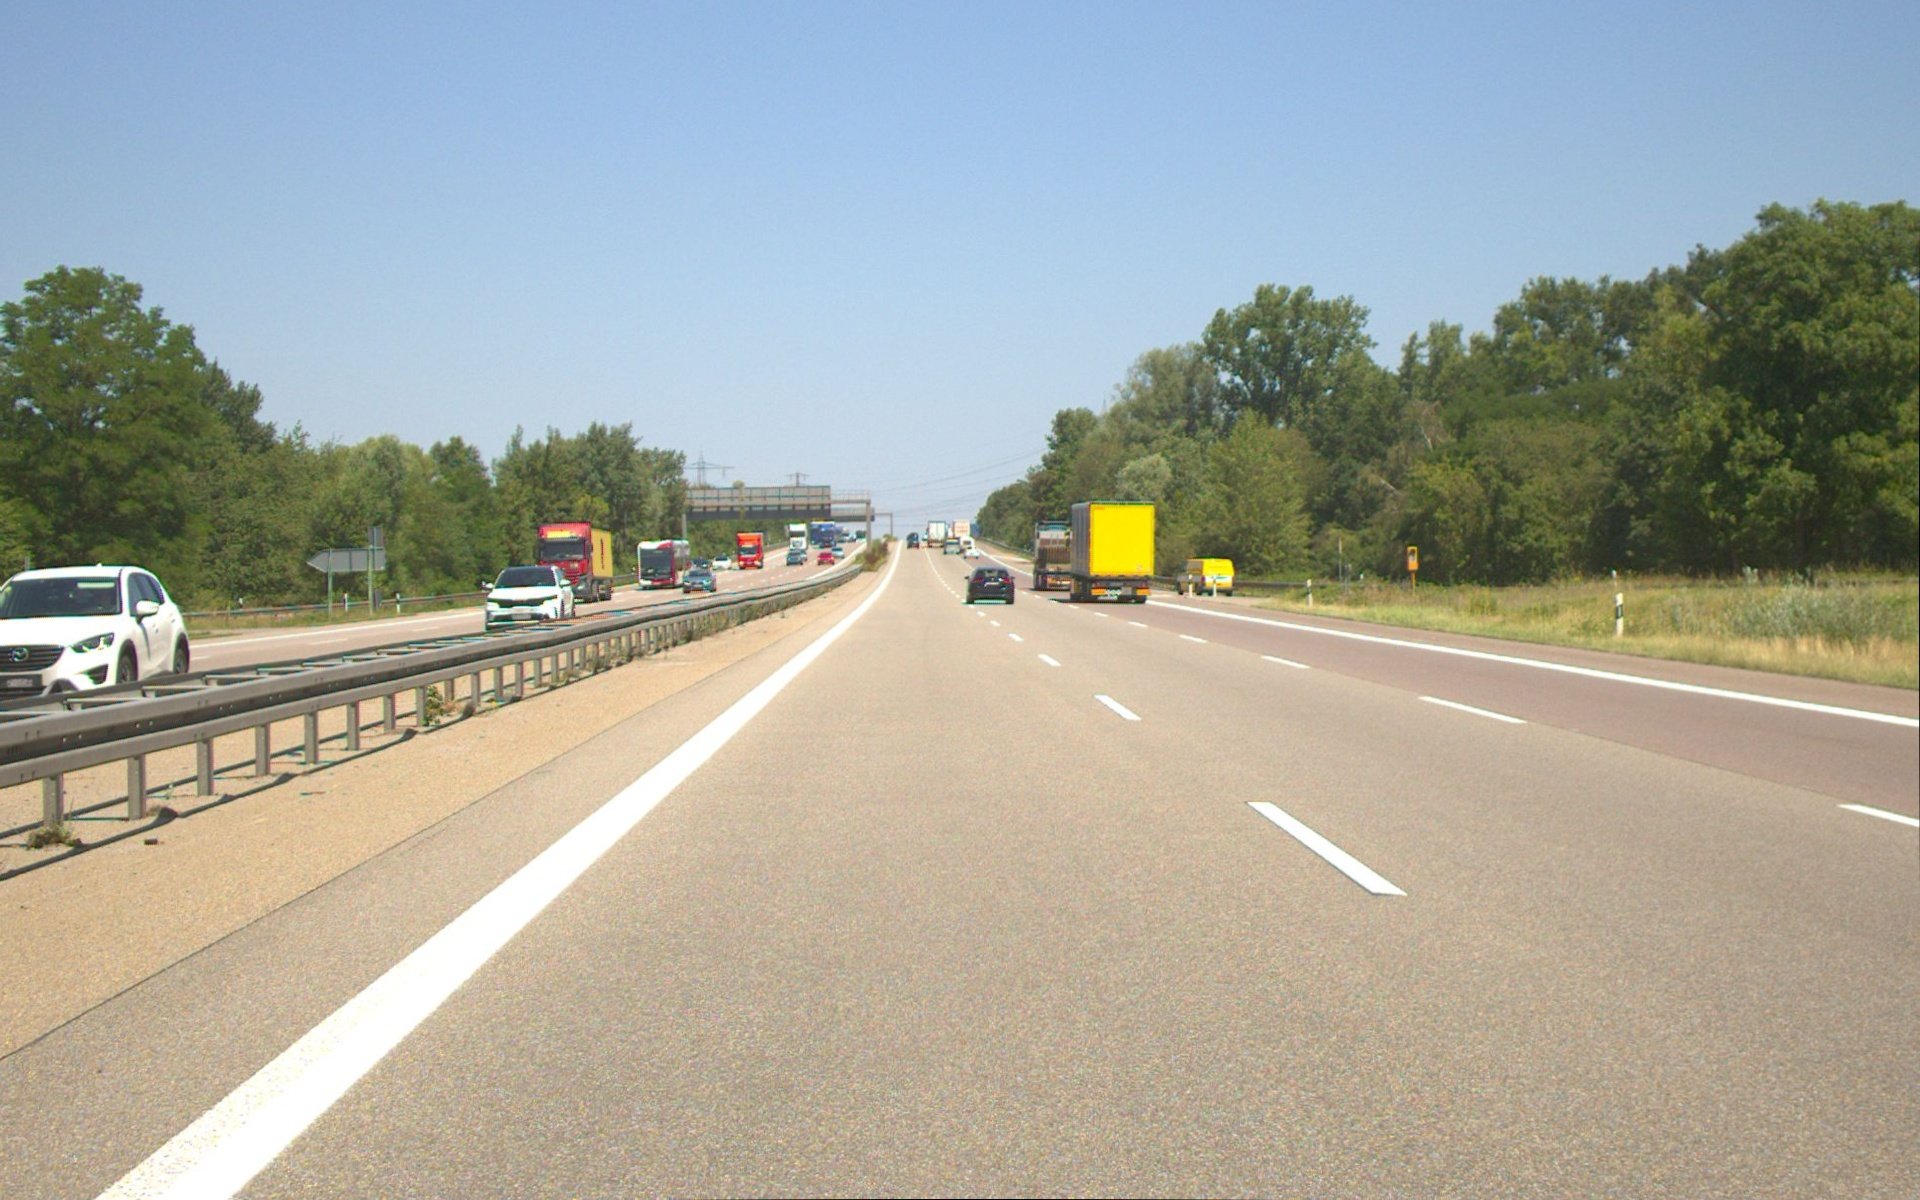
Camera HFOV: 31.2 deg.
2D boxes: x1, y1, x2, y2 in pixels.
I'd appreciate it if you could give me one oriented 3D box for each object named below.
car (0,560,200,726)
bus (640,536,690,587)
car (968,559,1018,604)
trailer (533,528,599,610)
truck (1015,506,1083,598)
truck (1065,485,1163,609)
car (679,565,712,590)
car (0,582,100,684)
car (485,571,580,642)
[{"bbox_3d":[-9.747,0.424,37.765,1.762,1.687,4.819,-1,1,-1],"label":"car"},{"bbox_3d":[-20.526,-2.688,239.762,2.763,3.435,8.932,-1,1,0],"label":"bus"},{"bbox_3d":[1.286,-0.746,134.178,1.827,1.700,4.000,1,1,-1],"label":"car"},{"bbox_3d":[-19.699,-1.557,172.075,2.603,3.978,6.029,1,1,0],"label":"trailer"},{"bbox_3d":[4.915,-2.670,192.547,3.367,4.864,15.086,1,1,0],"label":"truck"},{"bbox_3d":[6.331,-2.198,143.743,3.377,4.864,15.086,1,1,0],"label":"truck"},{"bbox_3d":[-15.854,-1.356,206.374,1.720,1.376,4.787,-4,0,-2],"label":"car"},{"bbox_3d":[-14.829,0.506,53.677,1.762,1.490,4.075,-2,1,-1],"label":"car"},{"bbox_3d":[-10.759,0.141,86.828,1.810,1.687,5.125,-1,1,-1],"label":"car"}]
